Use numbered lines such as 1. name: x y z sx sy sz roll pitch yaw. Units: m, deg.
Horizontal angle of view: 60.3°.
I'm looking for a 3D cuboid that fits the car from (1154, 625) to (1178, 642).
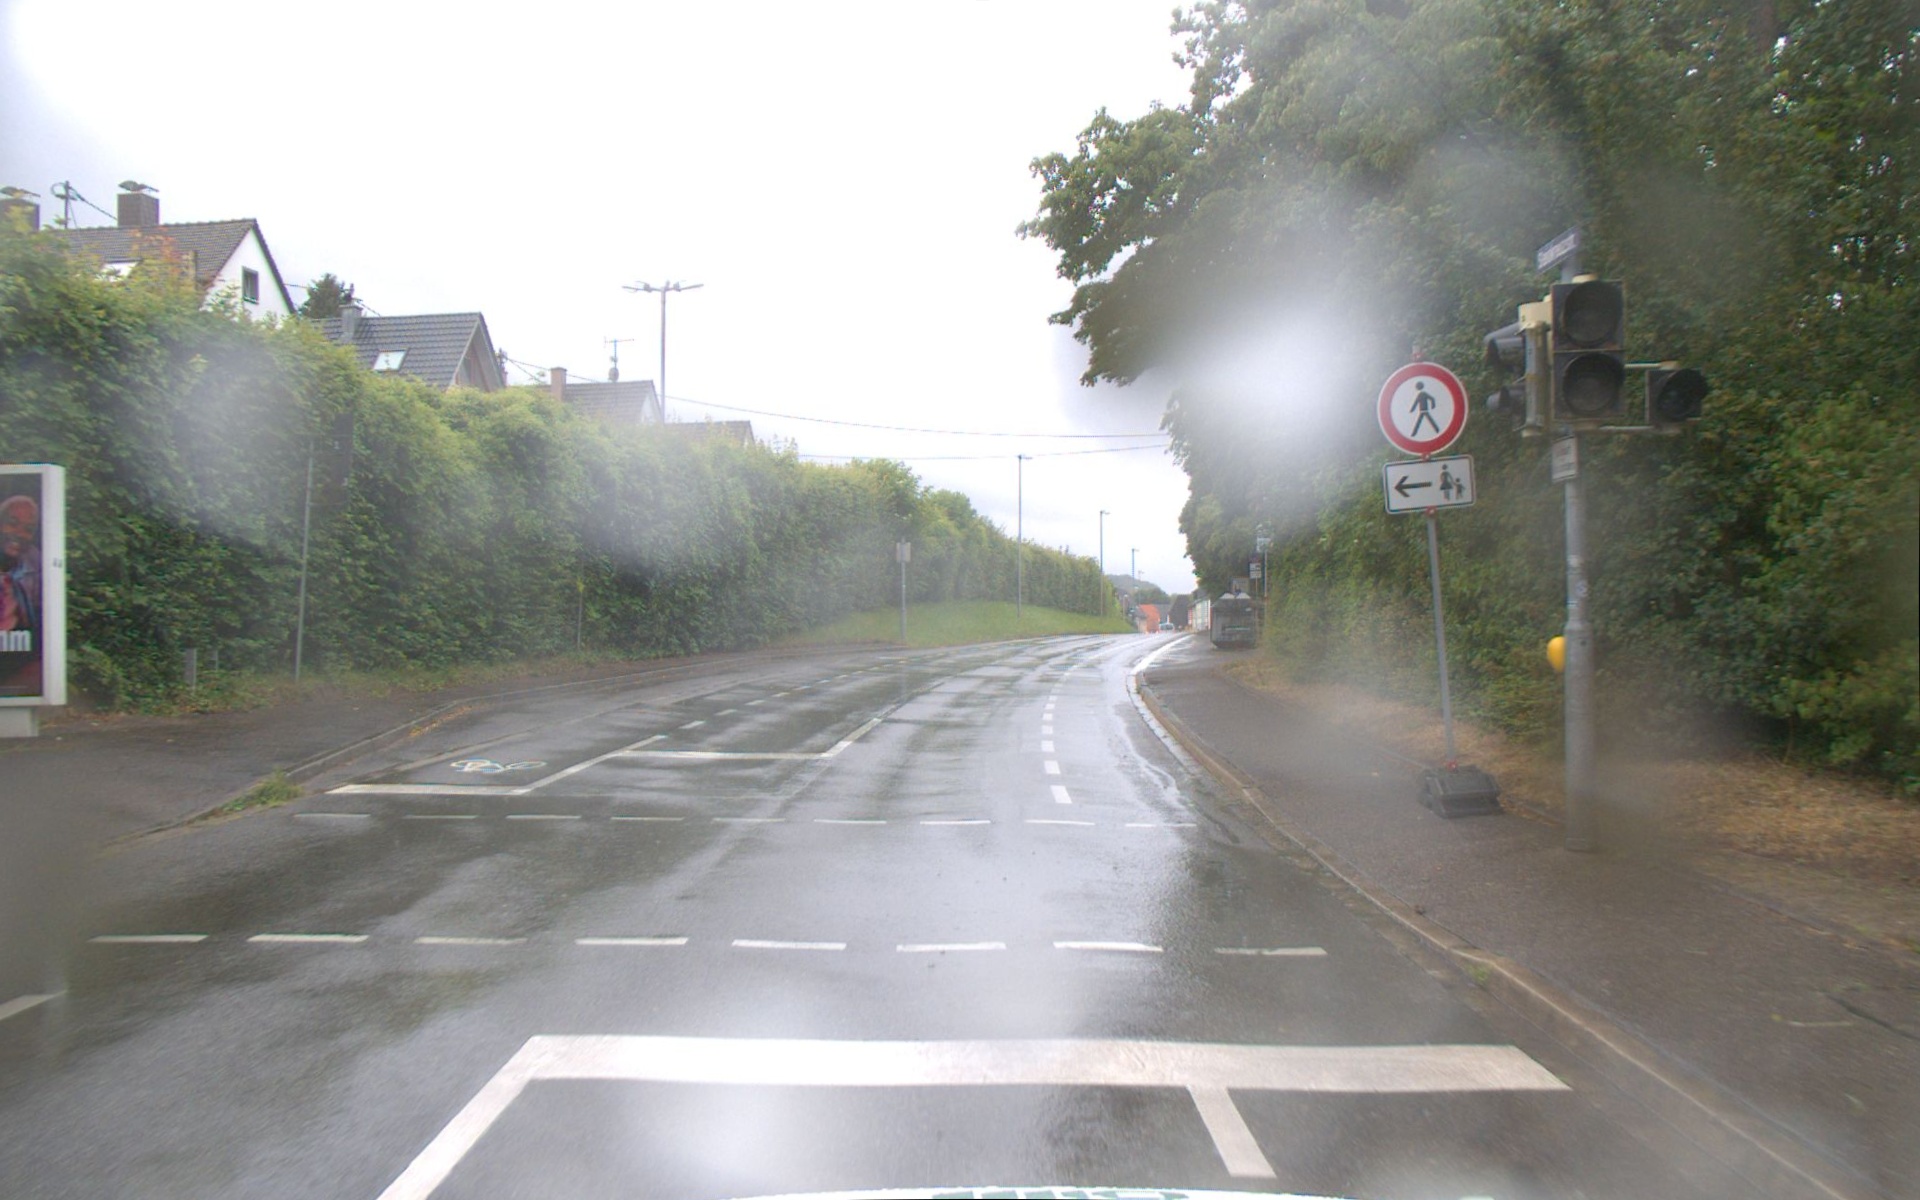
1. car: 21.053 3.419 169.431 1.952 1.639 4.000 2 -1 1
